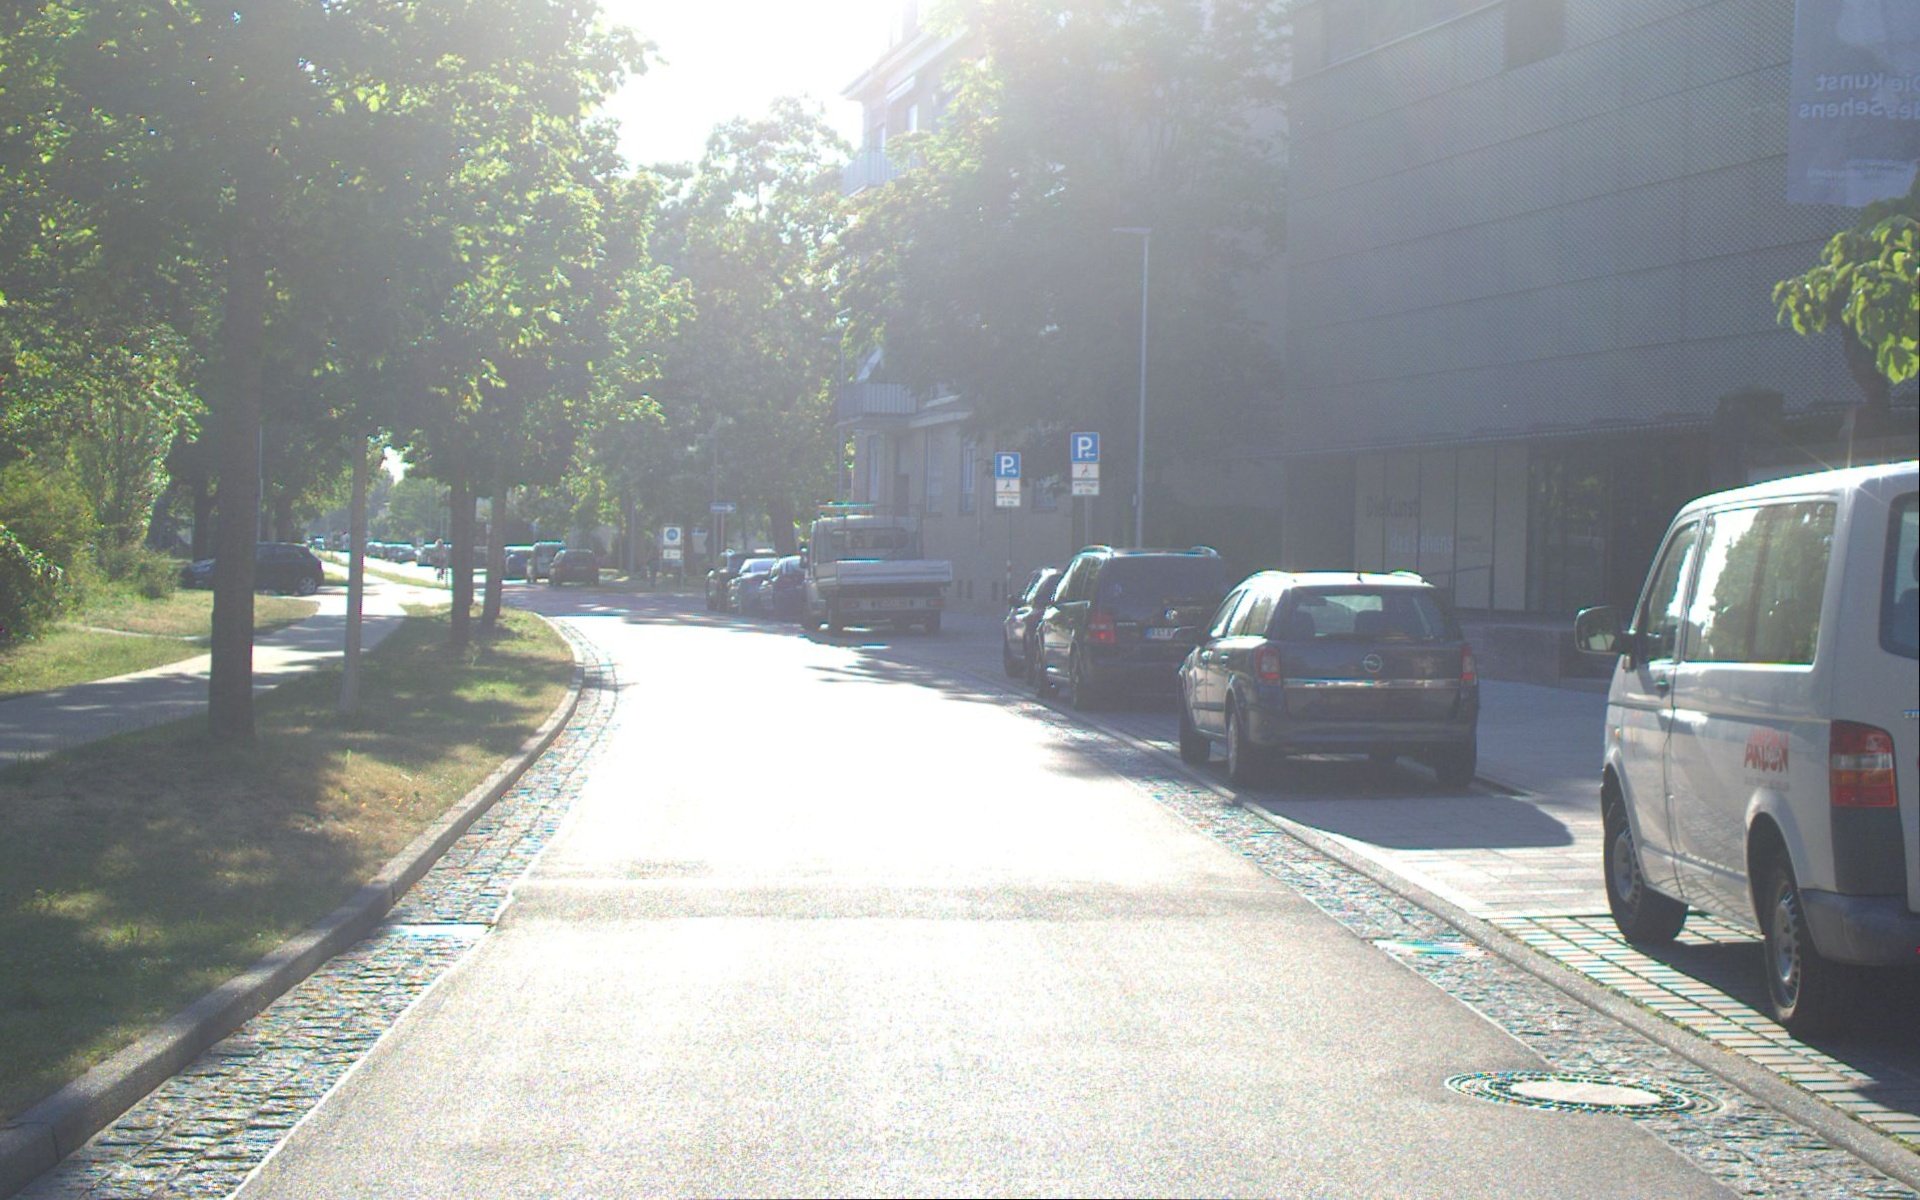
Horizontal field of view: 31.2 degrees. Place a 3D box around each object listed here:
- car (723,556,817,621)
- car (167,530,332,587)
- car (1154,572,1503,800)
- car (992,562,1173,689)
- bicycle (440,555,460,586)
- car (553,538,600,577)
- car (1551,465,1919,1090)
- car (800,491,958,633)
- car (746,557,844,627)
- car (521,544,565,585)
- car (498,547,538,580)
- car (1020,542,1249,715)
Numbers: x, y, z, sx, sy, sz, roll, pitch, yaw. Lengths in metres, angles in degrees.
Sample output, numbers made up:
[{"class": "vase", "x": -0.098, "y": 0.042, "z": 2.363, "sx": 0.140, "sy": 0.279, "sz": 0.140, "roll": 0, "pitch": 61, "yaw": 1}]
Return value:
[{"class": "car", "x": -4.495, "y": -0.294, "z": 80.784, "sx": 1.690, "sy": 1.435, "sz": 4.105, "roll": 1, "pitch": 1, "yaw": -10}, {"class": "car", "x": -19.437, "y": -1.131, "z": 94.106, "sx": 3.987, "sy": 1.415, "sz": 1.771, "roll": 2, "pitch": 1, "yaw": -36}, {"class": "car", "x": 2.603, "y": 0.557, "z": 25.305, "sx": 1.747, "sy": 1.461, "sz": 4.478, "roll": -1, "pitch": 1, "yaw": -4}, {"class": "car", "x": 1.432, "y": 0.273, "z": 41.662, "sx": 1.724, "sy": 1.417, "sz": 3.907, "roll": 1, "pitch": 1, "yaw": -5}, {"class": "bicycle", "x": -21.602, "y": -1.259, "z": 145.638, "sx": 0.688, "sy": 1.198, "sz": 2.344, "roll": 2, "pitch": 2, "yaw": -6}, {"class": "car", "x": -15.455, "y": -1.715, "z": 138.818, "sx": 1.793, "sy": 1.504, "sz": 4.001, "roll": 2, "pitch": 1, "yaw": -6}, {"class": "car", "x": 3.715, "y": 0.501, "z": 13.236, "sx": 1.993, "sy": 1.959, "sz": 4.849, "roll": -1, "pitch": 1, "yaw": 0}, {"class": "car", "x": -1.581, "y": -0.737, "z": 64.480, "sx": 2.211, "sy": 2.521, "sz": 6.149, "roll": 0, "pitch": 1, "yaw": -8}, {"class": "car", "x": -3.642, "y": -0.190, "z": 75.389, "sx": 1.690, "sy": 1.435, "sz": 3.551, "roll": 1, "pitch": 1, "yaw": -10}, {"class": "car", "x": -18.511, "y": -1.589, "z": 152.546, "sx": 1.793, "sy": 1.718, "sz": 4.001, "roll": 2, "pitch": 1, "yaw": -8}, {"class": "car", "x": -21.547, "y": -1.781, "z": 167.564, "sx": 1.793, "sy": 1.504, "sz": 4.001, "roll": 2, "pitch": 1, "yaw": -8}, {"class": "car", "x": 1.744, "y": 0.247, "z": 35.702, "sx": 1.724, "sy": 1.663, "sz": 4.115, "roll": 0, "pitch": 1, "yaw": -6}]
